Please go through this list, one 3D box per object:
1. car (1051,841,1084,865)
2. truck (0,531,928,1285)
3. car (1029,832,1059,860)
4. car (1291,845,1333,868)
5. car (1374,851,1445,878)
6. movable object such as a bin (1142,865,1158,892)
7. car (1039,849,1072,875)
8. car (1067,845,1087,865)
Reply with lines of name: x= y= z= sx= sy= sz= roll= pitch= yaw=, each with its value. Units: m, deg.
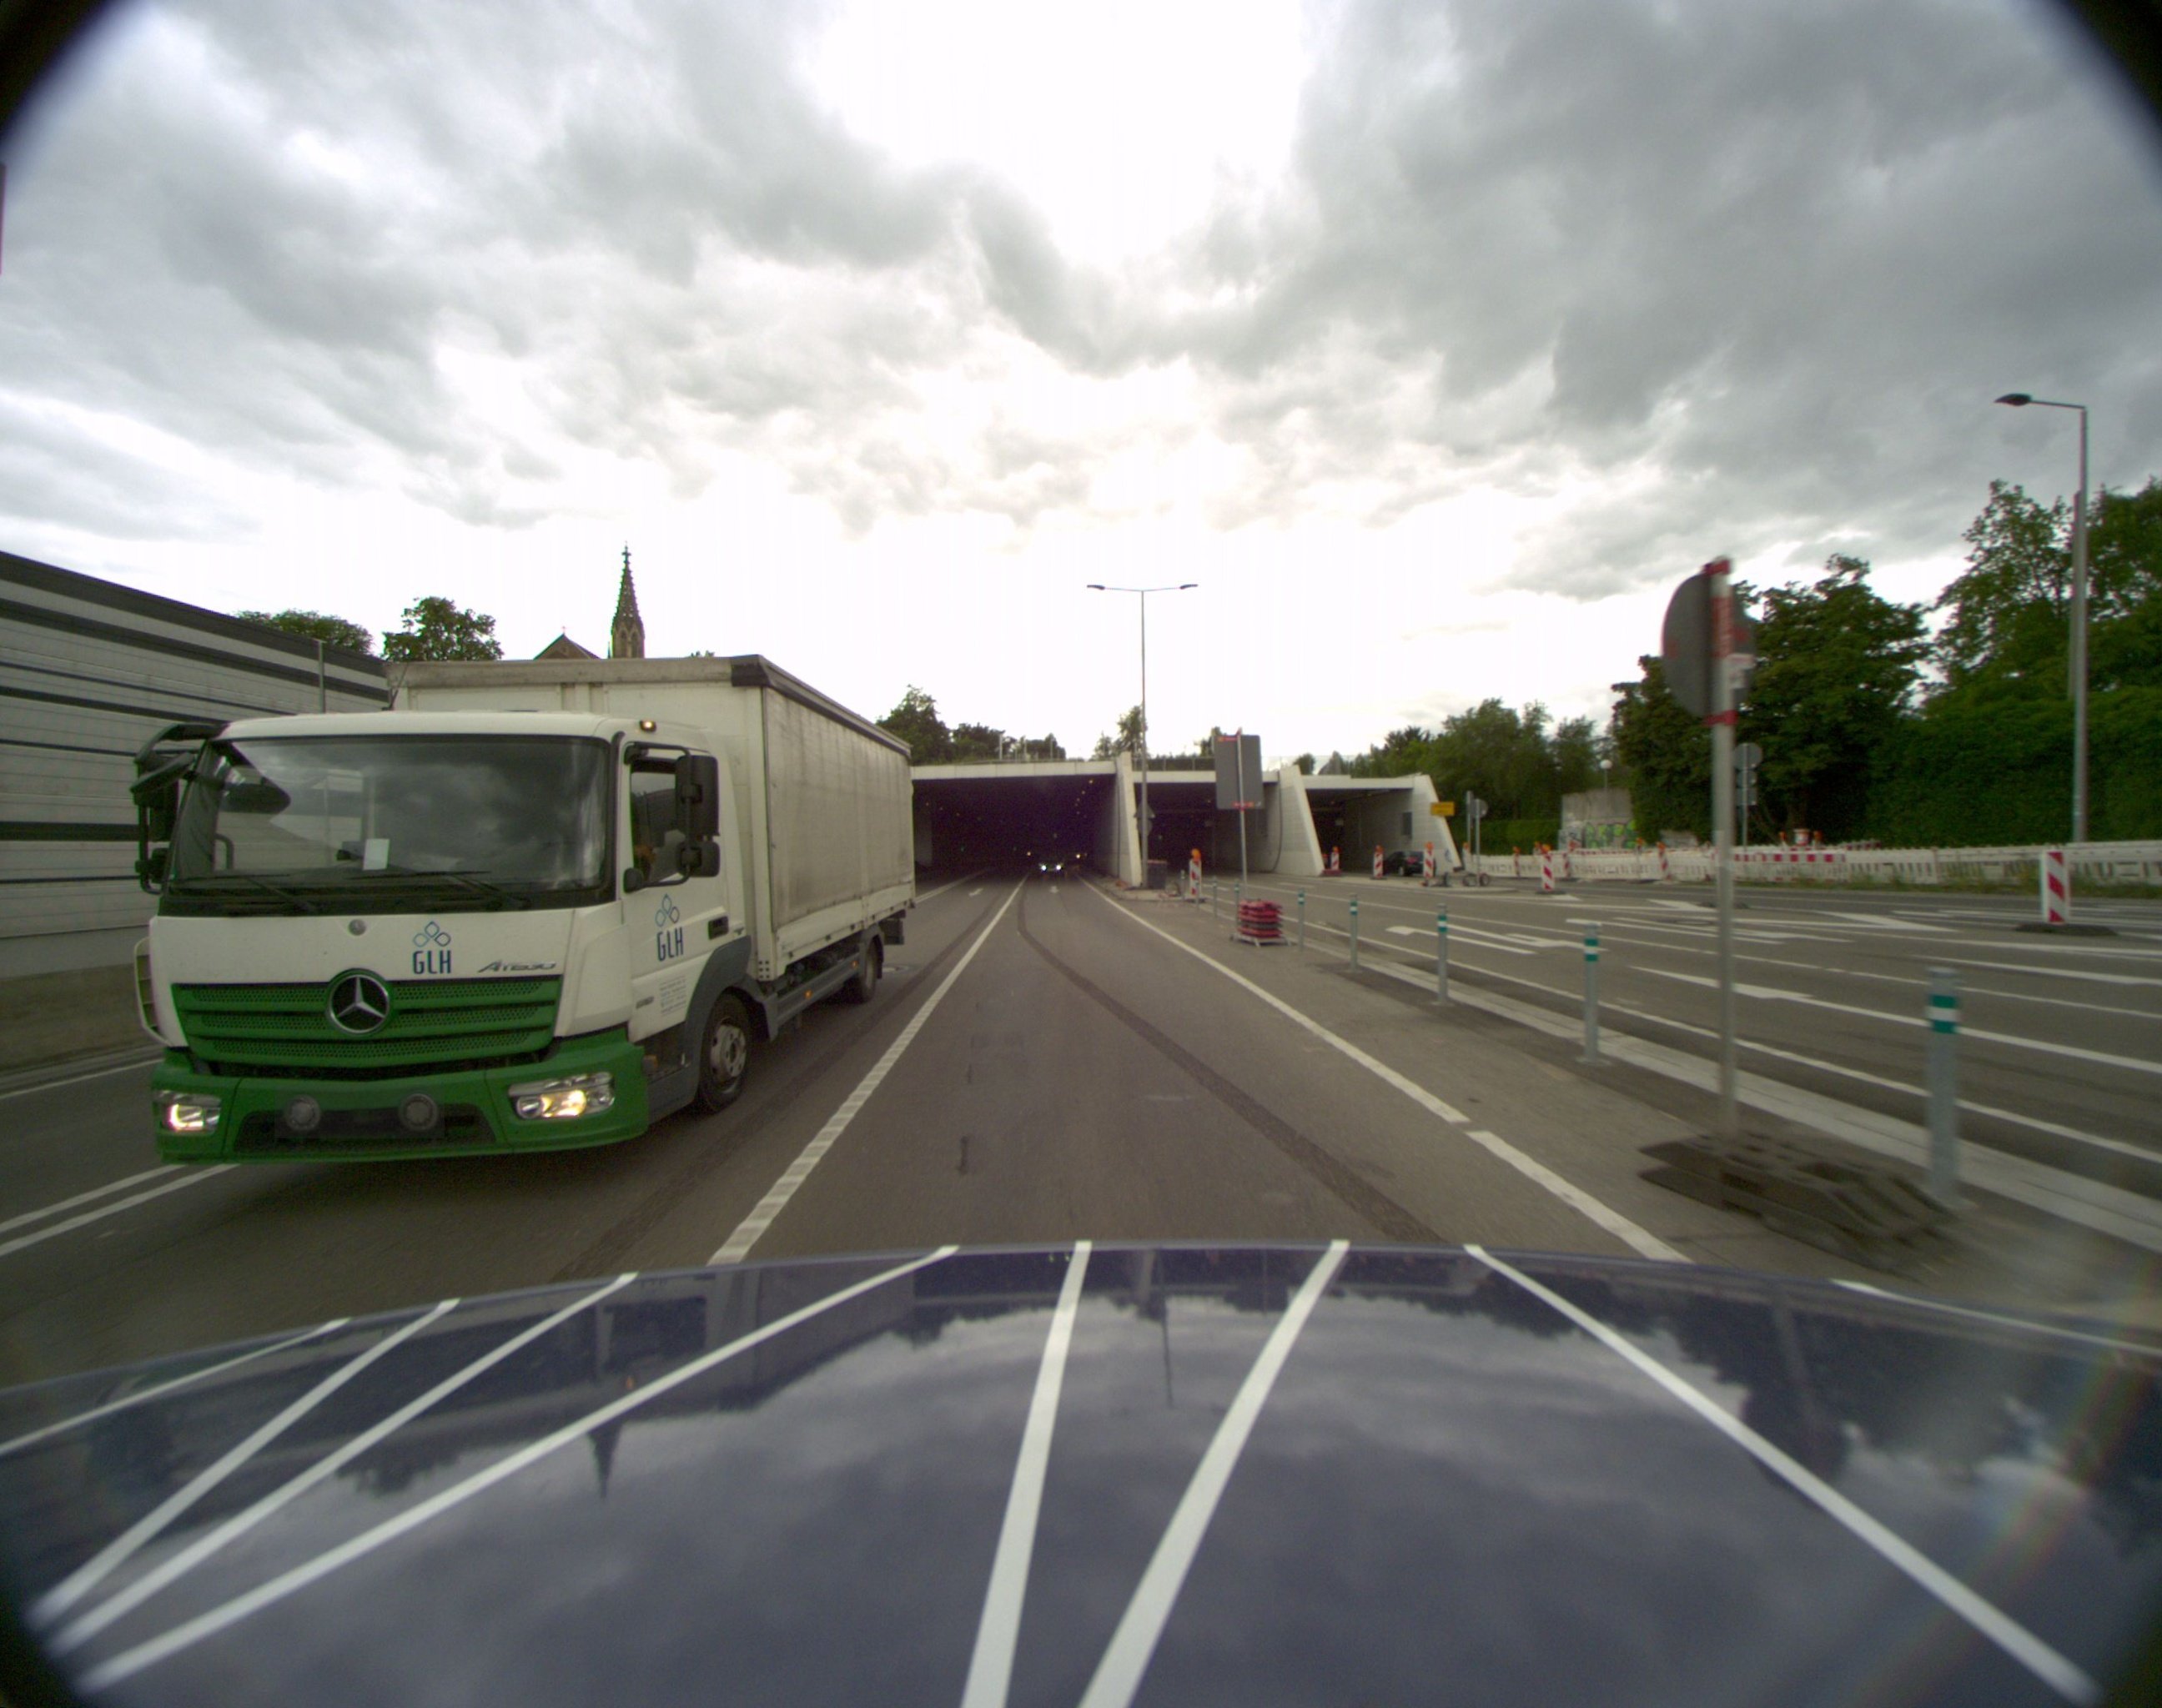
car: x=-1.112 y=-0.077 z=64.823 sx=2.374 sy=1.914 sz=5.199 roll=-2 pitch=1 yaw=3
truck: x=-3.481 y=0.197 z=7.063 sx=2.637 sy=3.220 sz=7.413 roll=-3 pitch=1 yaw=-1
car: x=-3.799 y=-0.823 z=79.628 sx=2.559 sy=2.752 sz=7.351 roll=-1 pitch=1 yaw=2
car: x=18.117 y=0.166 z=59.825 sx=1.852 sy=1.652 sz=4.374 roll=-2 pitch=1 yaw=-1
car: x=17.770 y=0.533 z=41.309 sx=1.868 sy=1.342 sz=4.194 roll=-2 pitch=1 yaw=-4
movable object such as a bin: x=2.708 y=0.941 z=29.743 sx=0.490 sy=1.011 sz=0.423 roll=-3 pitch=1 yaw=-8
car: x=-1.529 y=0.464 z=46.641 sx=1.721 sy=1.455 sz=4.000 roll=-1 pitch=1 yaw=1
car: x=-0.406 y=0.099 z=79.518 sx=1.998 sy=2.002 sz=4.000 roll=-2 pitch=0 yaw=1
